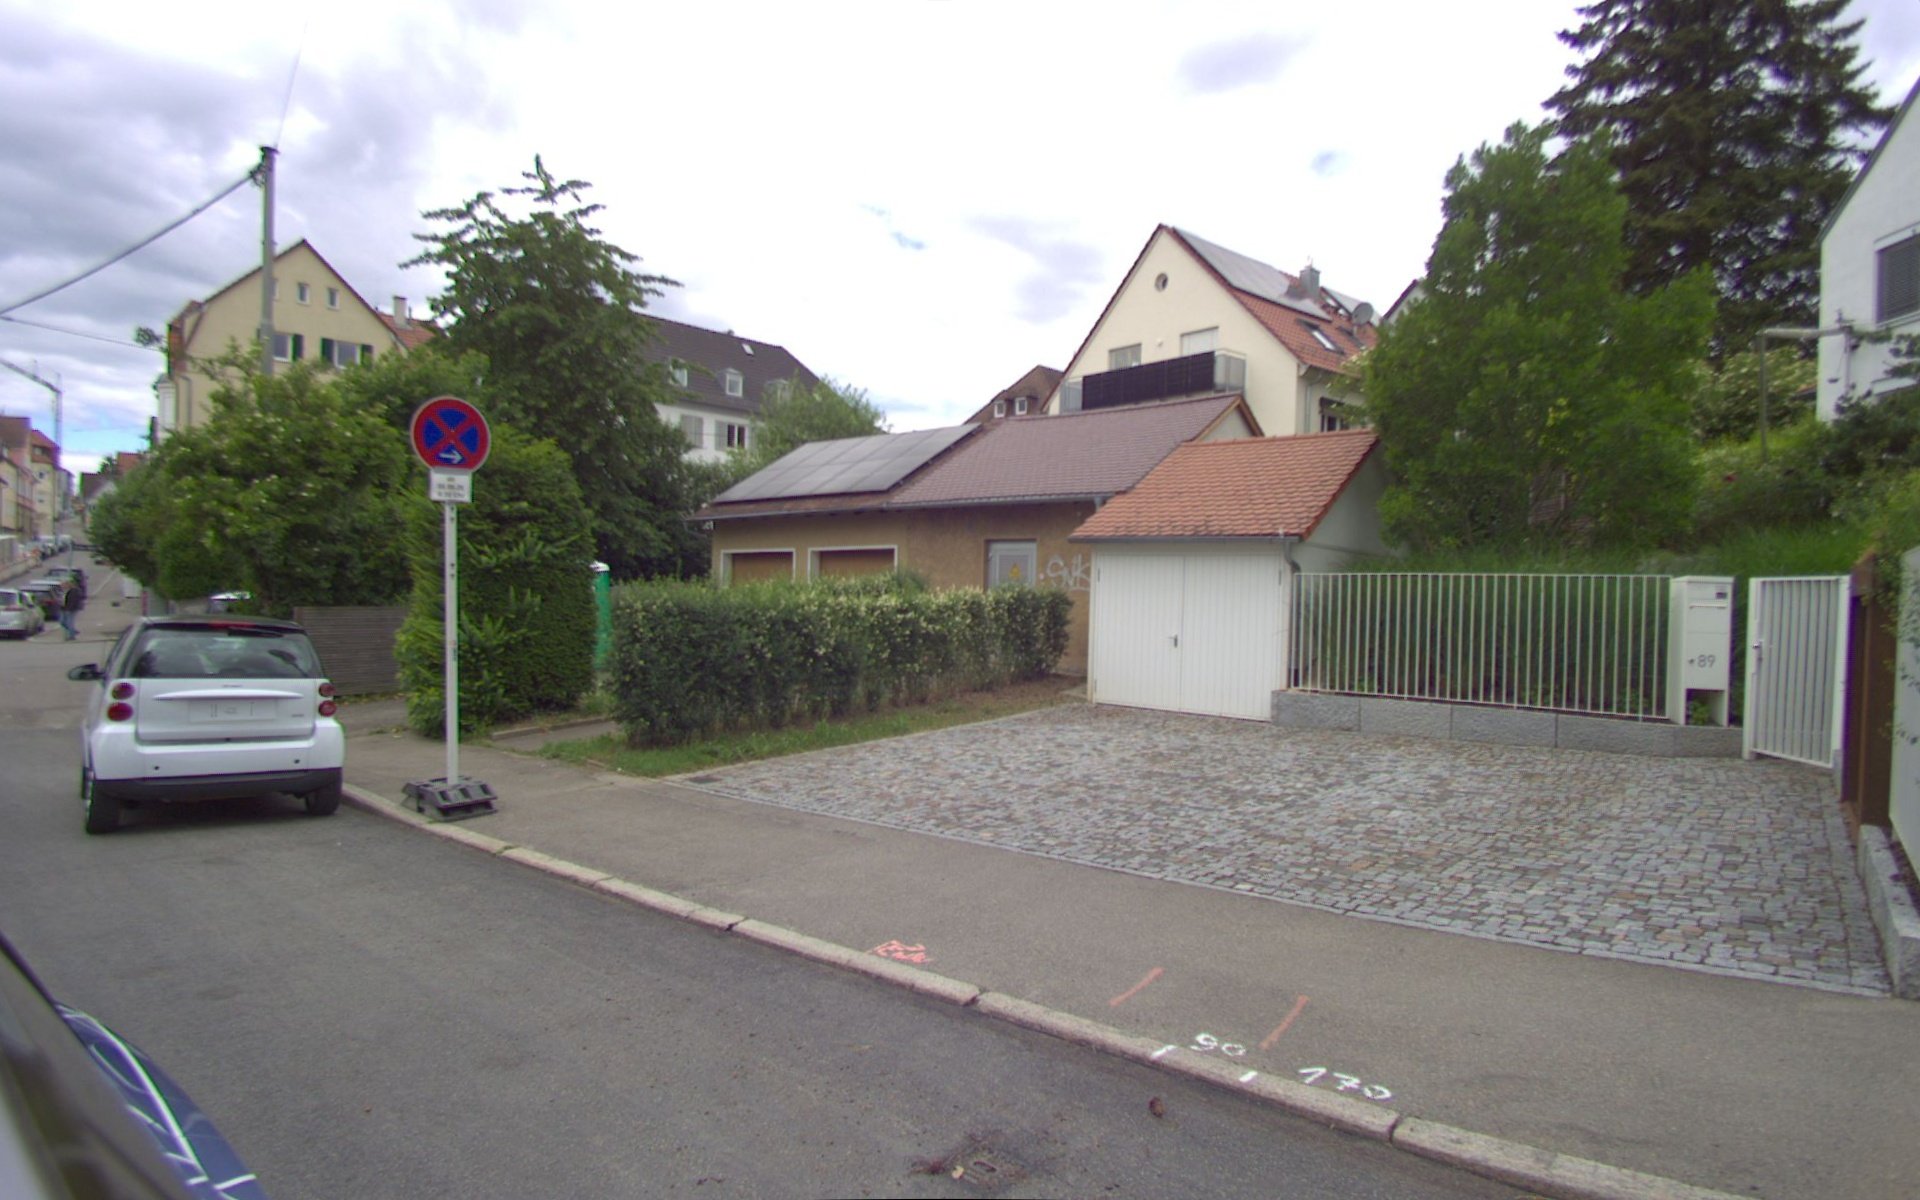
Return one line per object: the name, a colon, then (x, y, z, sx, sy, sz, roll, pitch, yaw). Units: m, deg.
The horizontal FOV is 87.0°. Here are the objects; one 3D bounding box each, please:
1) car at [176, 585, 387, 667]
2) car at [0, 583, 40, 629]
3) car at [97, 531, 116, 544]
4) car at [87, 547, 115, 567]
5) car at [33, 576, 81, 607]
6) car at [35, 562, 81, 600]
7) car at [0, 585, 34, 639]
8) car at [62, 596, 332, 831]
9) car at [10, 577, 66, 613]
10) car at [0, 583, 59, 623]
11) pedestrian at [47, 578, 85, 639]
car: (-16.046, 0.539, 24.268, 1.811, 1.667, 4.510, -1, 2, 4)
car: (-34.840, 0.179, 36.896, 1.586, 1.464, 3.621, 4, 0, -39)
car: (-114.920, -8.423, 136.316, 1.755, 1.578, 4.010, 1, 4, -37)
car: (-76.791, -3.861, 90.496, 1.637, 1.578, 4.010, 1, 3, -37)
car: (-45.924, -0.438, 51.512, 1.618, 1.409, 3.711, 1, 2, -39)
car: (-49.202, -1.071, 55.243, 1.727, 1.810, 4.157, 2, 2, -41)
car: (-31.661, 0.347, 33.037, 1.781, 1.672, 4.159, 2, 0, -39)
car: (-6.302, 0.818, 8.271, 1.425, 1.564, 2.772, 4, -4, -43)
car: (-43.663, -0.268, 47.981, 1.618, 1.439, 4.132, 3, 1, -39)
car: (-40.205, 0.110, 43.615, 1.779, 1.491, 4.338, 1, 2, -38)
pedestrian: (-26.908, 0.244, 30.457, 0.810, 1.773, 0.645, -2, 2, -41)
